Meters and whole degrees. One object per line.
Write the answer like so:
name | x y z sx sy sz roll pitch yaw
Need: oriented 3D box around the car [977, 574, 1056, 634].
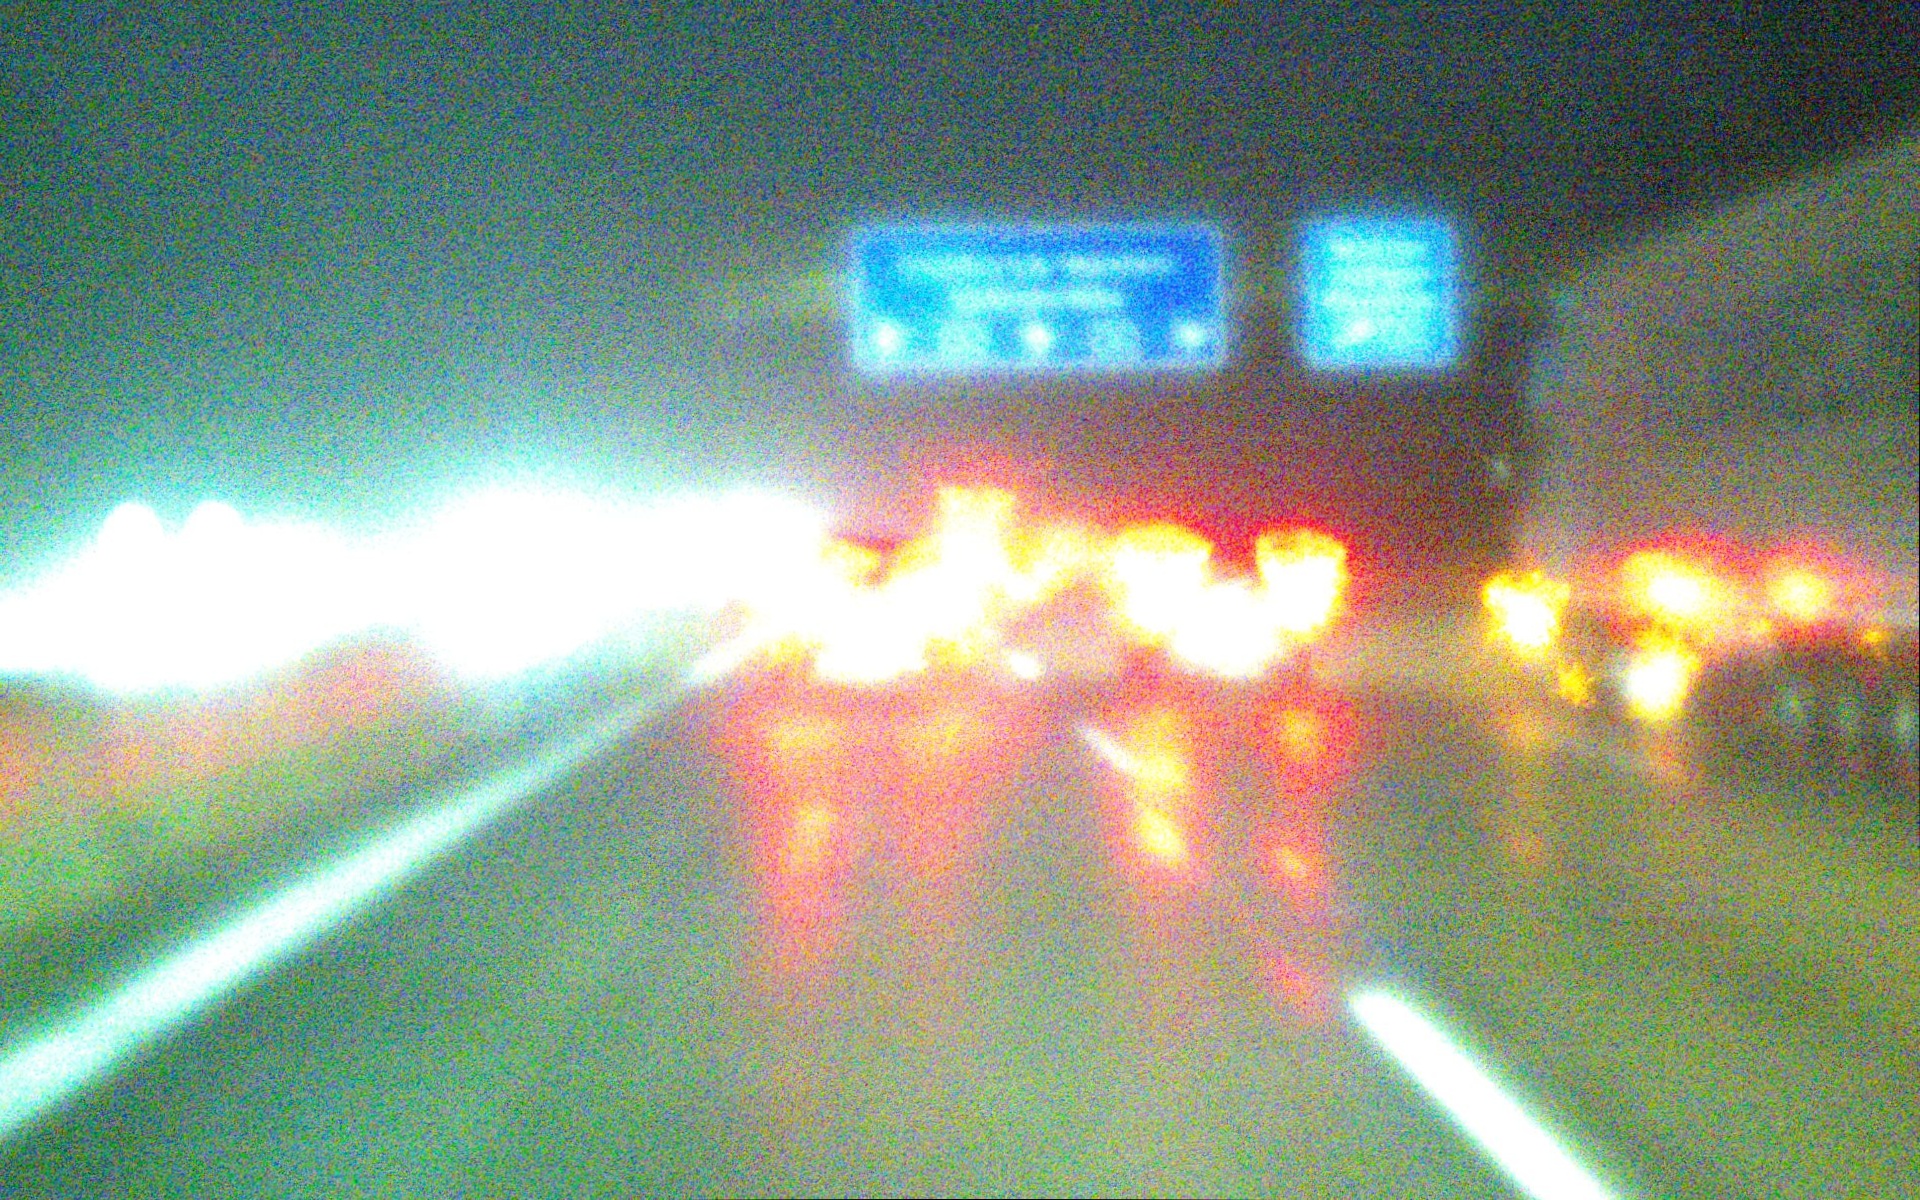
car | 1.572 0.095 96.995 2.137 1.612 4.000 1 1 0

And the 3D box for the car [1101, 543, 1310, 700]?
car | 2.592 0.186 37.192 1.884 1.583 4.000 1 1 -1

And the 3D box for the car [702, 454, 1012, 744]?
car | -1.044 -0.075 33.928 2.709 2.525 5.832 -2 1 -2

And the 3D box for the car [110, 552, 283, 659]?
car | -13.706 0.077 62.001 2.062 1.817 4.880 1 1 -1

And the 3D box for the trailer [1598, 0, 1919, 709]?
trailer | 6.986 -1.497 23.321 2.803 4.198 12.097 1 1 -1

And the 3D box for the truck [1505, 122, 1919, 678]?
truck | 6.867 -1.586 30.162 2.803 4.252 7.448 1 1 -1
